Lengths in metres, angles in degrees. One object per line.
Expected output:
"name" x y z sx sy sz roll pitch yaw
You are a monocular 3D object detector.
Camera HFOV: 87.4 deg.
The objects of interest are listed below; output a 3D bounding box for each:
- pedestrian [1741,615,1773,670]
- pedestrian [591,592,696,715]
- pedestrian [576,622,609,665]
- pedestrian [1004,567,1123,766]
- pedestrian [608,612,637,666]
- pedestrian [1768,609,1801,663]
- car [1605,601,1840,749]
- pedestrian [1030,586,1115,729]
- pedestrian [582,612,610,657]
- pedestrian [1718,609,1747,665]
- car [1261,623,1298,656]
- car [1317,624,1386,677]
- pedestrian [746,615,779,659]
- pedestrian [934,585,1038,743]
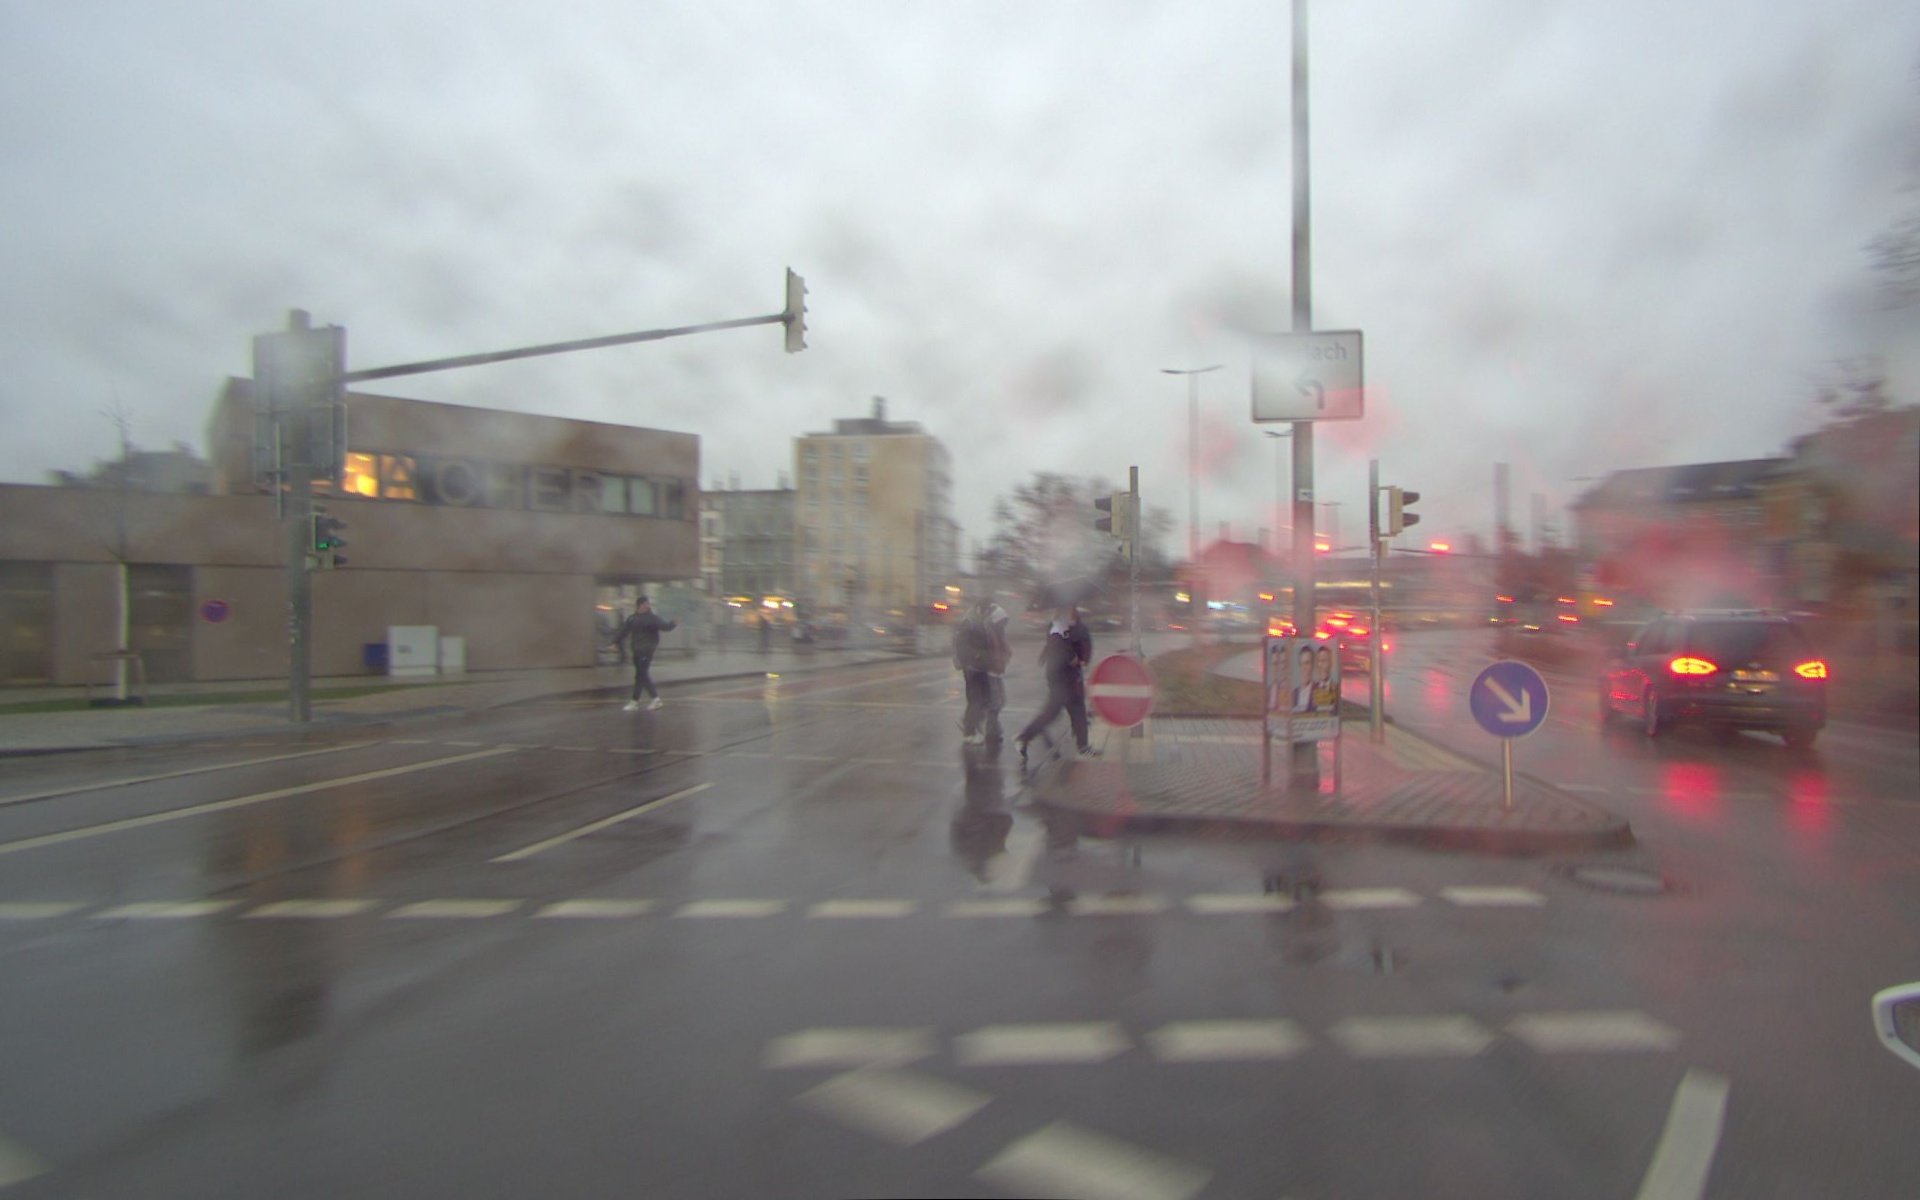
"pedestrian" 25.666 1.366 32.365 0.607 1.710 0.661 -2 -1 -44
"pedestrian" -5.098 0.821 16.201 1.212 1.883 1.033 0 2 29
"pedestrian" -14.054 1.658 38.416 0.957 1.624 0.846 0 -1 -41
"pedestrian" 1.168 0.688 11.087 1.190 2.077 1.036 0 2 11
"pedestrian" -11.441 1.310 34.057 0.649 1.791 0.833 -1 -1 3
"pedestrian" 26.410 1.147 32.174 0.755 1.710 0.711 1 -2 -44
"car" 11.014 0.958 14.871 1.749 1.824 4.422 0 0 23
"pedestrian" 1.656 0.824 14.890 1.089 2.032 0.847 -1 2 -7
"pedestrian" -14.450 1.374 39.922 0.785 1.774 0.763 -1 -1 2
"pedestrian" 25.232 1.219 32.791 0.764 1.804 0.578 1 -3 -44
"car" 18.330 2.222 57.489 1.854 1.795 4.000 0 -1 21
"car" 12.887 1.615 33.217 1.672 1.501 3.873 2 0 15
"pedestrian" -8.953 1.662 45.616 1.113 1.944 1.051 0 -1 -38
"pedestrian" 0.315 0.756 12.674 1.019 1.883 1.066 -1 2 -17
